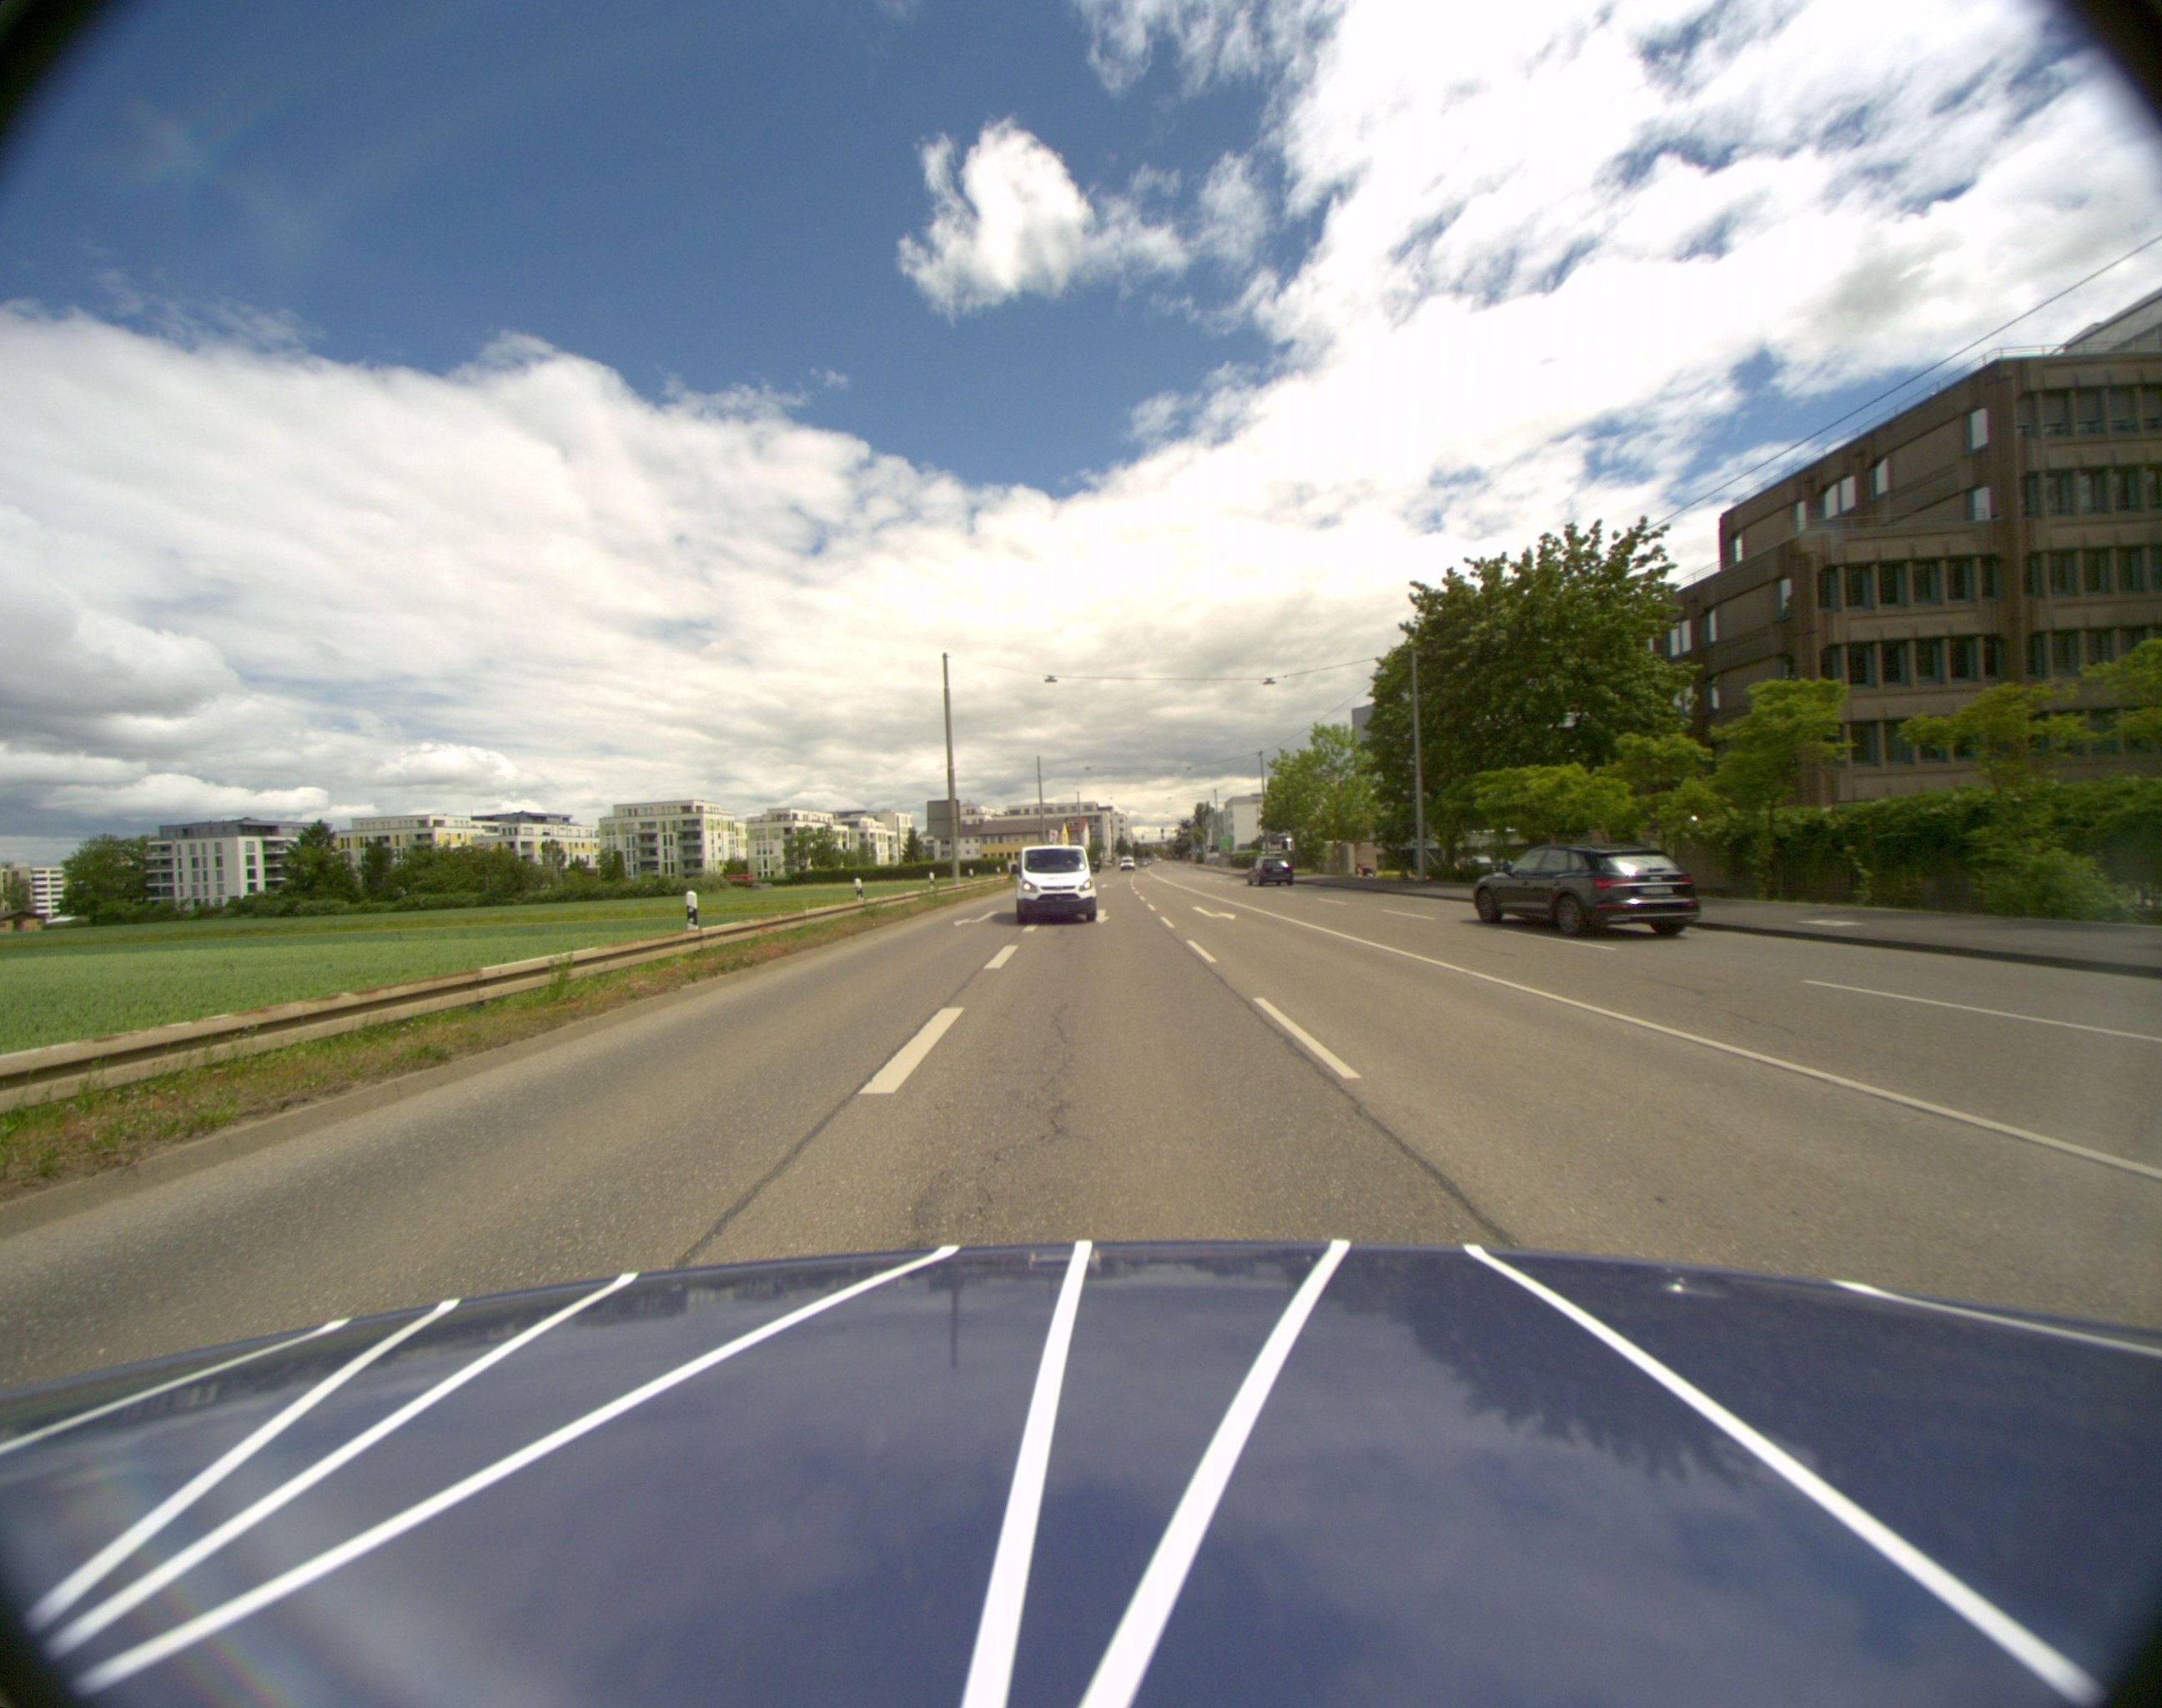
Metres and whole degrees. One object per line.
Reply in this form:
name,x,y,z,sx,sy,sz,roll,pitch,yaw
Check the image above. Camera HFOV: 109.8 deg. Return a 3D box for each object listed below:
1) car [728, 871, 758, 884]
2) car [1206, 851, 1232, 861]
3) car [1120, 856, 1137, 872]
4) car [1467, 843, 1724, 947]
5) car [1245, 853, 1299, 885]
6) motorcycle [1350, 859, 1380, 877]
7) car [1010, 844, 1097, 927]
car,-60.575,4.253,136.205,4.436,2.002,2.000,-2,1,1
car,22.090,0.317,121.948,3.801,1.601,1.836,-2,0,1
car,6.366,1.318,103.203,1.998,2.002,3.999,-2,1,0
car,9.426,0.638,14.490,1.872,1.605,4.572,-2,1,2
car,10.062,0.757,40.365,1.801,1.576,4.313,-1,0,0
motorcycle,21.038,1.046,56.353,1.905,1.237,0.746,-2,1,1
car,-0.671,0.744,21.070,1.999,1.907,5.881,-2,0,0
